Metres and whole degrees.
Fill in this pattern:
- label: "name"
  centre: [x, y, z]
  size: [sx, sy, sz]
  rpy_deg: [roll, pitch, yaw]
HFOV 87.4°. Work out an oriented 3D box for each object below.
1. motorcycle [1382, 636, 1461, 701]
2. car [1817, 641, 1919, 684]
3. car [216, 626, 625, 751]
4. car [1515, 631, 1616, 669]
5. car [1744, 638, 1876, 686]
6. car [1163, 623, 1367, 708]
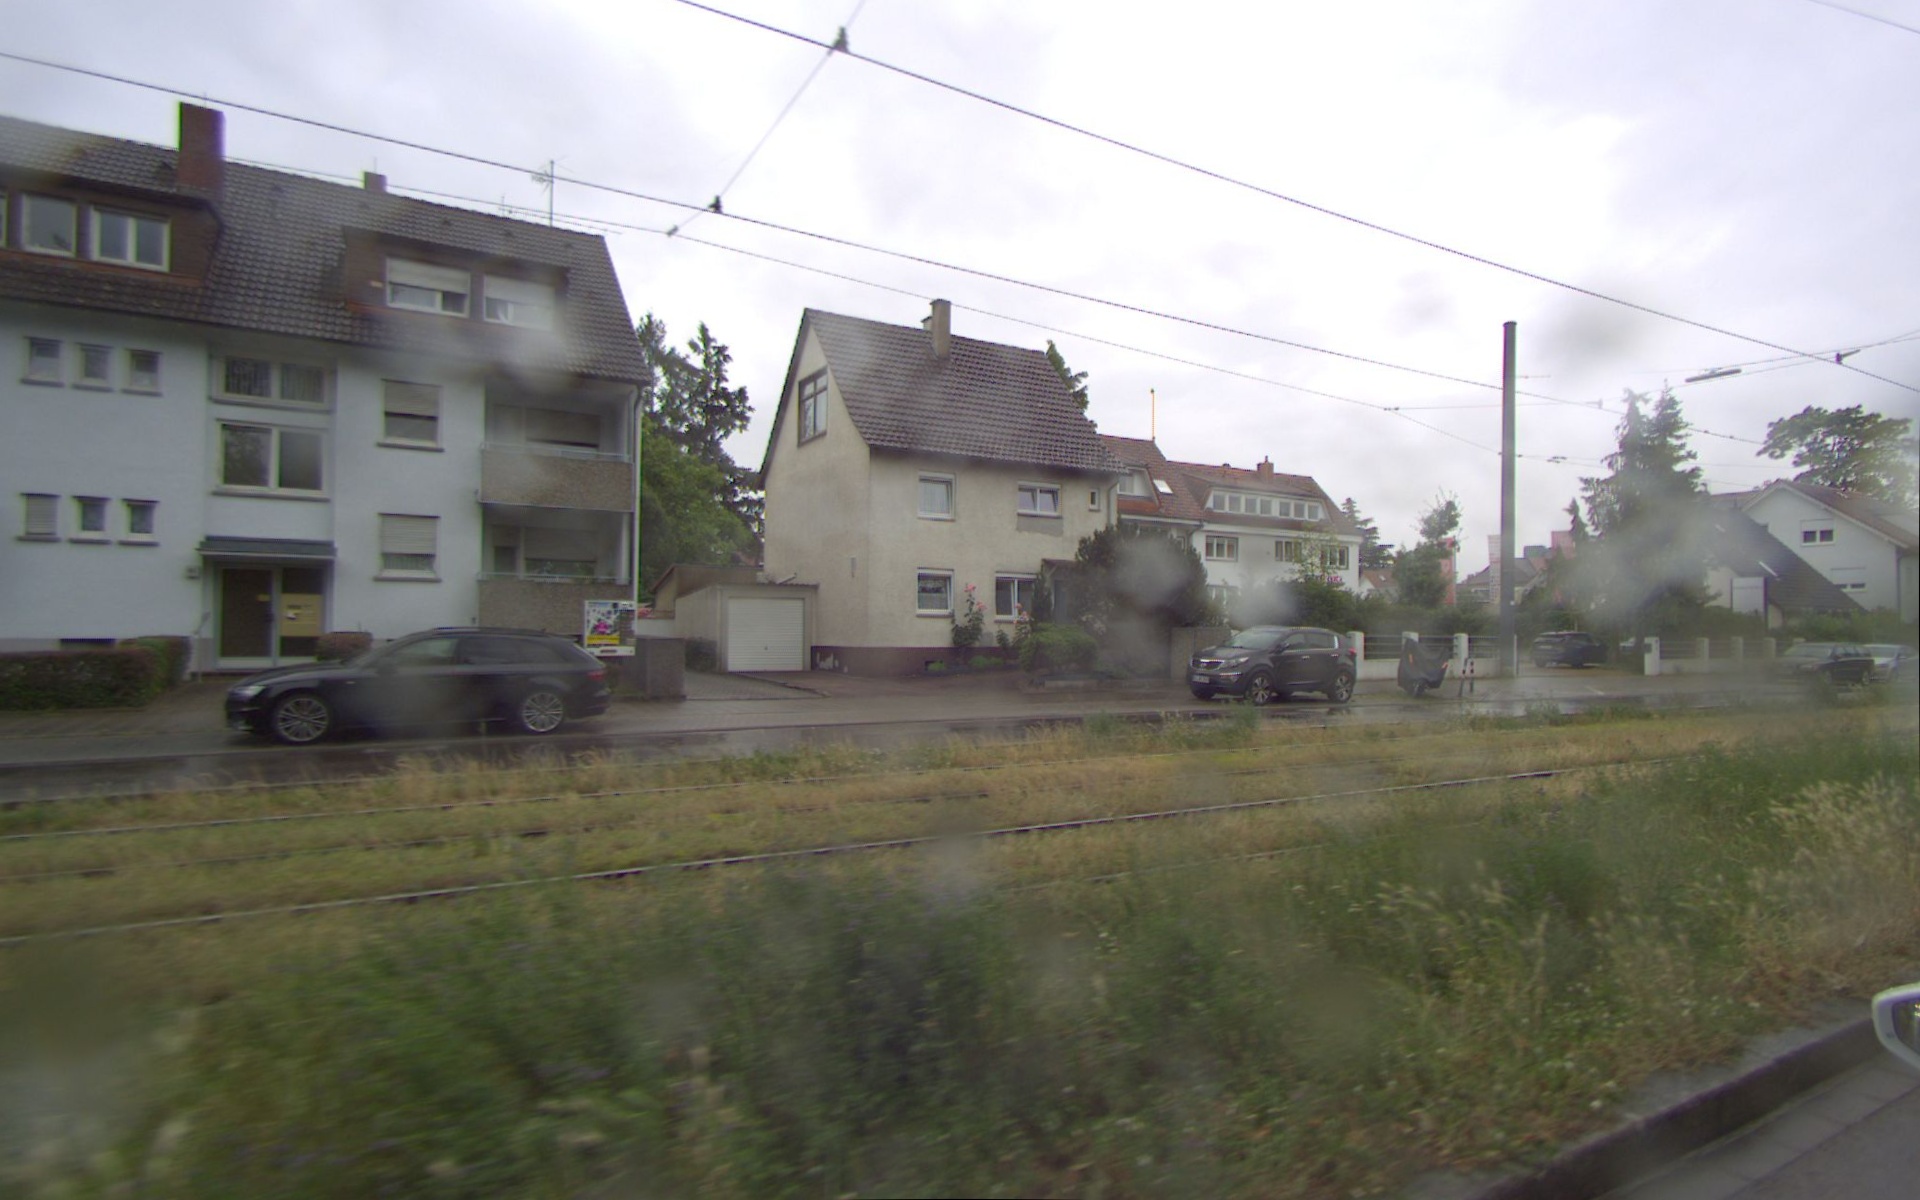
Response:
- label: "motorcycle"
  centre: [11.456, 1.668, 25.067]
  size: [1.241, 1.429, 2.689]
  rpy_deg: [2, -1, 13]
- label: "car"
  centre: [34.639, 2.337, 38.111]
  size: [3.924, 1.430, 1.984]
  rpy_deg: [1, 0, -30]
- label: "car"
  centre: [-7.291, 1.128, 14.044]
  size: [4.701, 1.430, 1.986]
  rpy_deg: [1, 0, -28]
- label: "car"
  centre: [25.585, 2.068, 42.429]
  size: [3.871, 1.475, 1.984]
  rpy_deg: [1, 0, -30]
- label: "car"
  centre: [29.782, 2.128, 35.176]
  size: [4.474, 1.475, 1.986]
  rpy_deg: [1, 0, -28]
- label: "car"
  centre: [6.830, 1.413, 22.400]
  size: [4.338, 1.696, 1.983]
  rpy_deg: [2, -1, -31]
